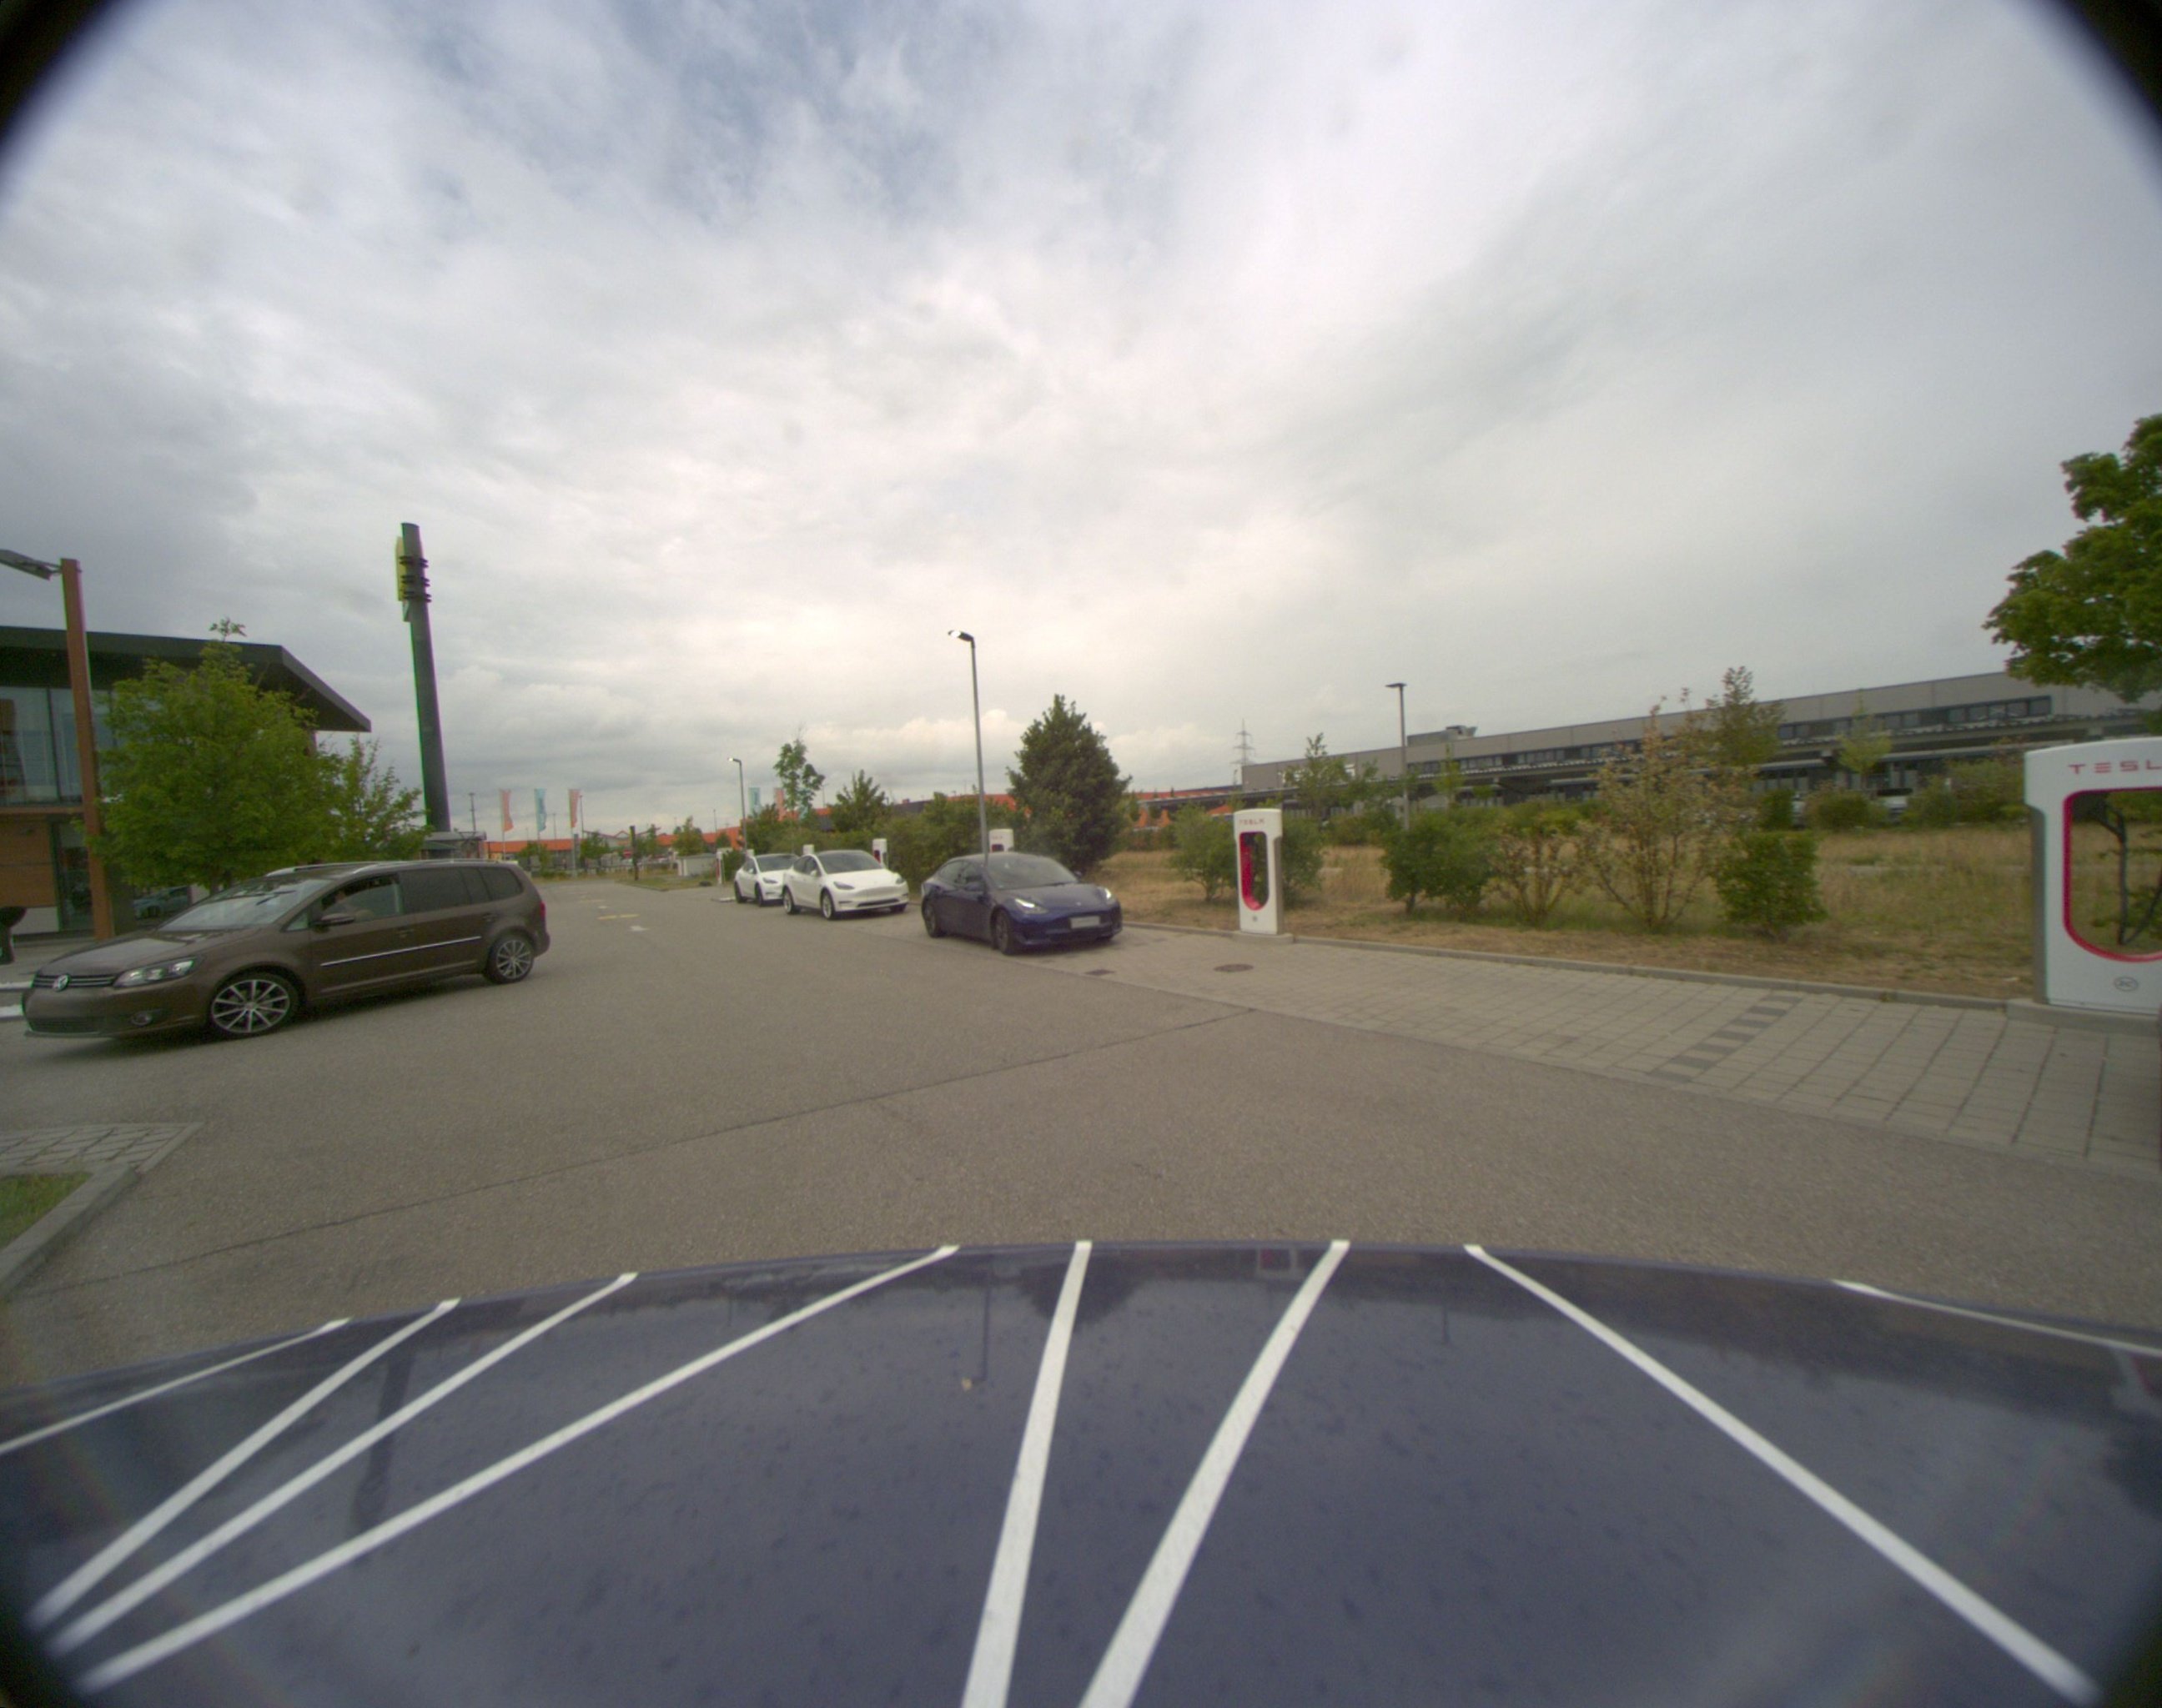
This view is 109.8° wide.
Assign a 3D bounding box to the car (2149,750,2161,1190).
[{"bbox_3d":[6.342,0.455,1.827,1.949,1.877,4.325,-3,2,-36],"label":"car"}]

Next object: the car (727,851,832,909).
[{"bbox_3d":[-10.194,0.774,25.418,2.076,1.593,4.931,-5,3,-35],"label":"car"}]

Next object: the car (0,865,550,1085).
[{"bbox_3d":[-8.592,1.067,8.546,1.808,1.680,4.192,-2,1,9],"label":"car"}]

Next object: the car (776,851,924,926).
[{"bbox_3d":[-5.996,0.791,19.371,2.076,1.545,4.466,-5,2,-37],"label":"car"}]

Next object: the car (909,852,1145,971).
[{"bbox_3d":[-1.088,0.759,12.348,1.836,1.451,4.445,-5,3,-33],"label":"car"}]

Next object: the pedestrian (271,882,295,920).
[{"bbox_3d":[-27.913,1.636,26.571,0.434,1.304,0.479,-3,2,-34],"label":"pedestrian"}]

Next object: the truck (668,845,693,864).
[{"bbox_3d":[-55.443,0.070,105.108,2.152,2.435,5.445,-3,2,-36],"label":"truck"}]
